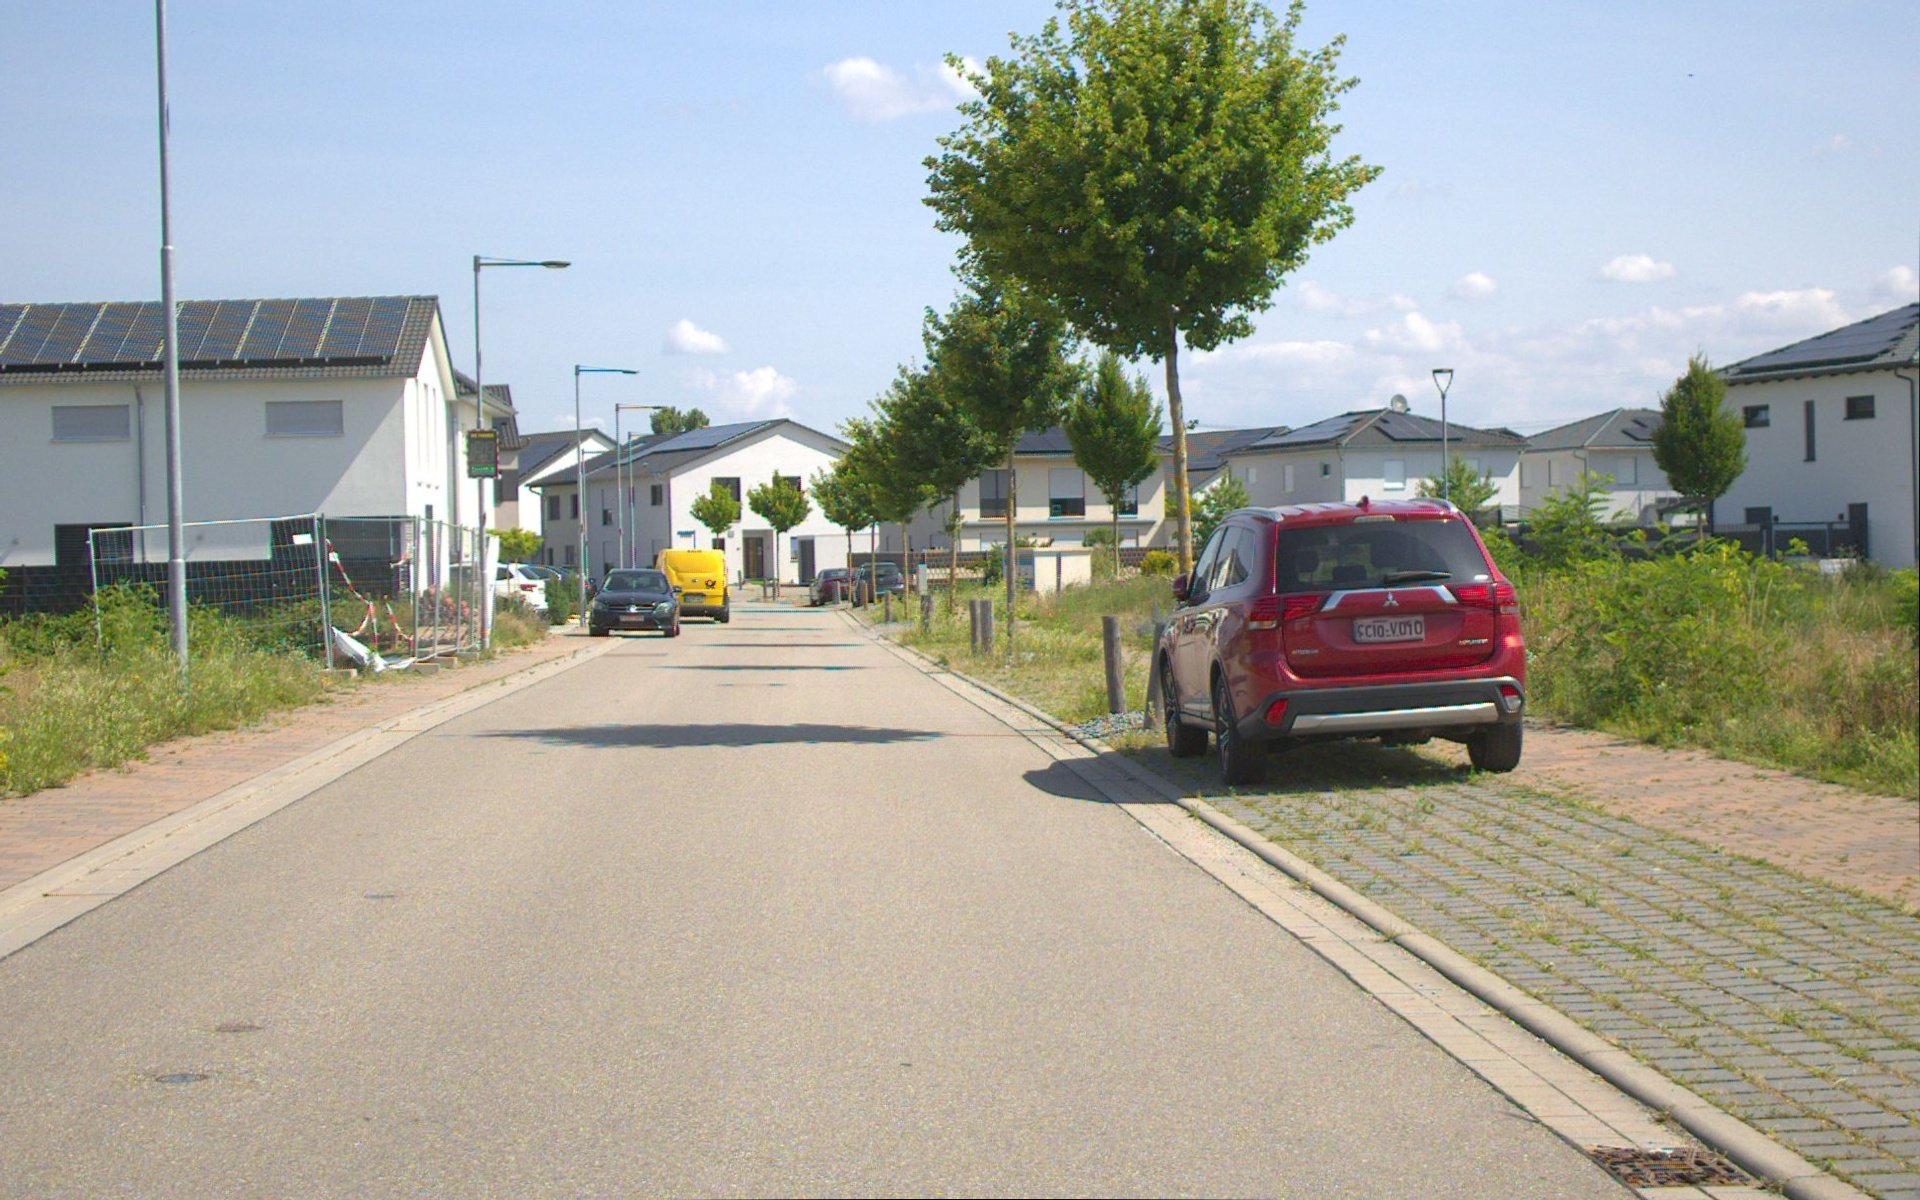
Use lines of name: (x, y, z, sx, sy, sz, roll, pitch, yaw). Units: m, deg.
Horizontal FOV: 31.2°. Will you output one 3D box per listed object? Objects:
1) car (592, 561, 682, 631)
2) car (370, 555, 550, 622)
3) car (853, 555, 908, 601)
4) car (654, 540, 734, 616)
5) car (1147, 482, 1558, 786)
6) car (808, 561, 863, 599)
car: (-6.870, -0.106, 73.506, 1.745, 1.400, 4.160, 1, 1, -3)
car: (-12.169, -0.289, 83.749, 4.069, 1.576, 1.784, 0, 1, 3)
car: (-2.651, -0.714, 113.912, 1.639, 1.398, 3.811, -1, -1, -4)
car: (-7.267, -0.576, 93.615, 1.941, 1.975, 4.218, -1, 0, -7)
car: (2.369, 0.149, 21.871, 1.776, 1.657, 4.434, -2, 1, -4)
car: (-4.816, -0.756, 132.451, 1.627, 1.318, 3.834, -1, -1, -10)
